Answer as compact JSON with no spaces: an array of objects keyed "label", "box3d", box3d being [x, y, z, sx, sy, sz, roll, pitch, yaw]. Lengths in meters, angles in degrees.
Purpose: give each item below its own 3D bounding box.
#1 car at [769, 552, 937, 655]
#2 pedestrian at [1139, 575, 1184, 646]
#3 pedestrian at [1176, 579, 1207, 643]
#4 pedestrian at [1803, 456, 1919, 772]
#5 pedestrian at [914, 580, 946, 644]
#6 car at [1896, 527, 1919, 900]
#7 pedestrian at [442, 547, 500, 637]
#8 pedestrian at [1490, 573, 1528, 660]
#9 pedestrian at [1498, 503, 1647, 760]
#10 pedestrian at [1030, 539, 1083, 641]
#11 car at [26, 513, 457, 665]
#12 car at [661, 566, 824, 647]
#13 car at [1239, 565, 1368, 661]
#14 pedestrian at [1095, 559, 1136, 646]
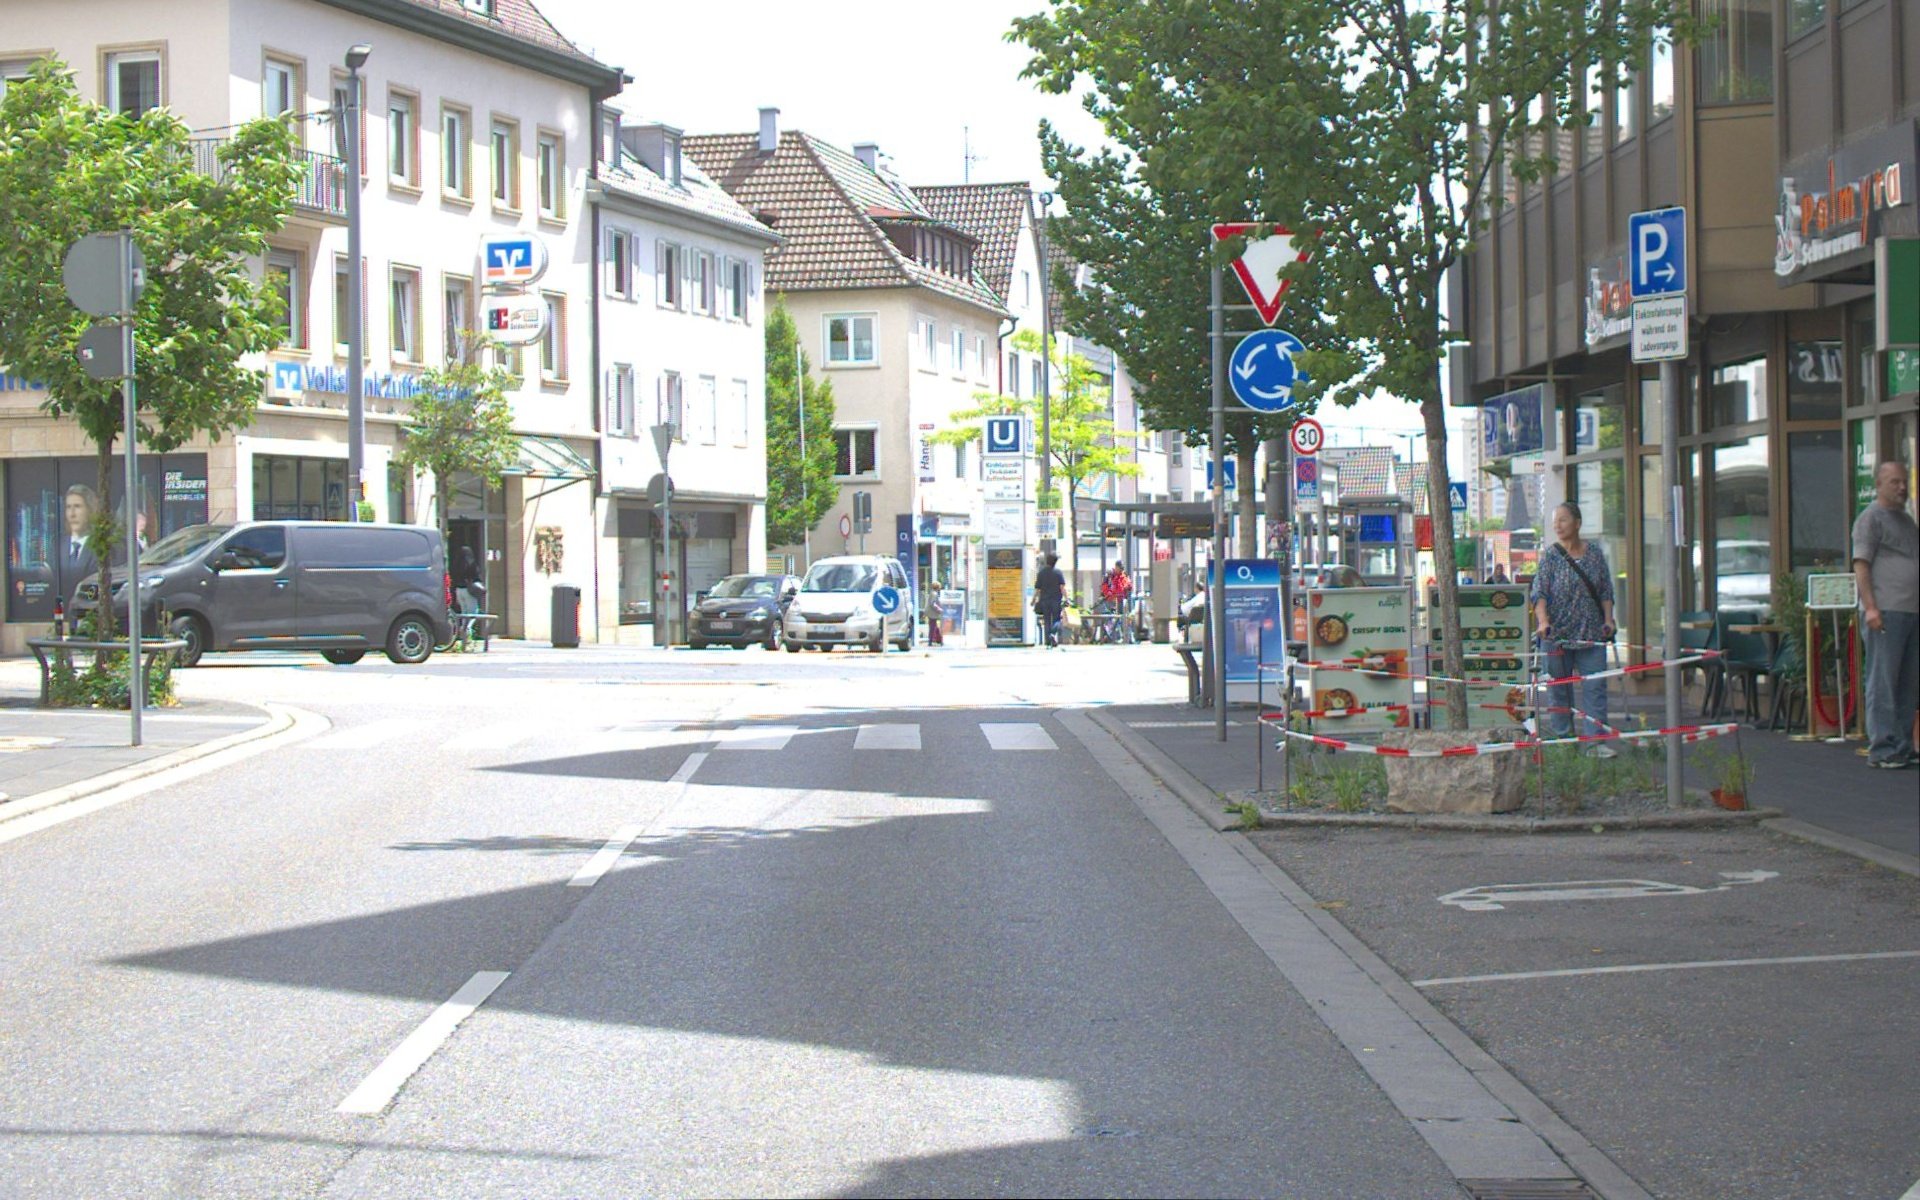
[{"label":"car","box3d":[-1.813,0.046,59.369,1.994,1.683,3.998,1,0,12]},{"label":"pedestrian","box3d":[4.505,0.224,76.920,0.728,1.574,0.747,1,1,31]},{"label":"pedestrian","box3d":[4.751,0.227,70.533,0.591,1.312,0.591,1,0,5]},{"label":"pedestrian","box3d":[5.480,0.073,20.300,0.737,1.808,0.711,-3,0,-1]},{"label":"pedestrian","box3d":[-0.755,0.297,85.974,0.692,1.605,0.644,1,0,-10]},{"label":"car","box3d":[2.701,0.582,4.948,1.609,1.490,3.795,-4,1,1]},{"label":"pedestrian","box3d":[-8.406,-0.143,59.091,0.627,1.527,0.858,1,0,23]},{"label":"pedestrian","box3d":[10.747,0.315,67.320,0.621,1.684,0.652,1,0,-1]},{"label":"pedestrian","box3d":[3.925,0.195,22.078,0.784,1.610,0.800,1,0,-1]},{"label":"pedestrian","box3d":[1.616,-0.172,57.705,0.869,1.702,0.531,1,0,2]},{"label":"car","box3d":[-9.114,-0.133,43.844,4.984,1.842,2.047,0,0,-38]},{"label":"car","box3d":[-4.014,0.108,64.148,1.994,1.448,3.998,1,0,12]},{"label":"car","box3d":[5.750,0.197,57.285,1.698,1.525,3.469,1,0,13]},{"label":"pedestrian","box3d":[3.168,0.052,69.987,0.727,1.757,0.748,0,1,10]}]
